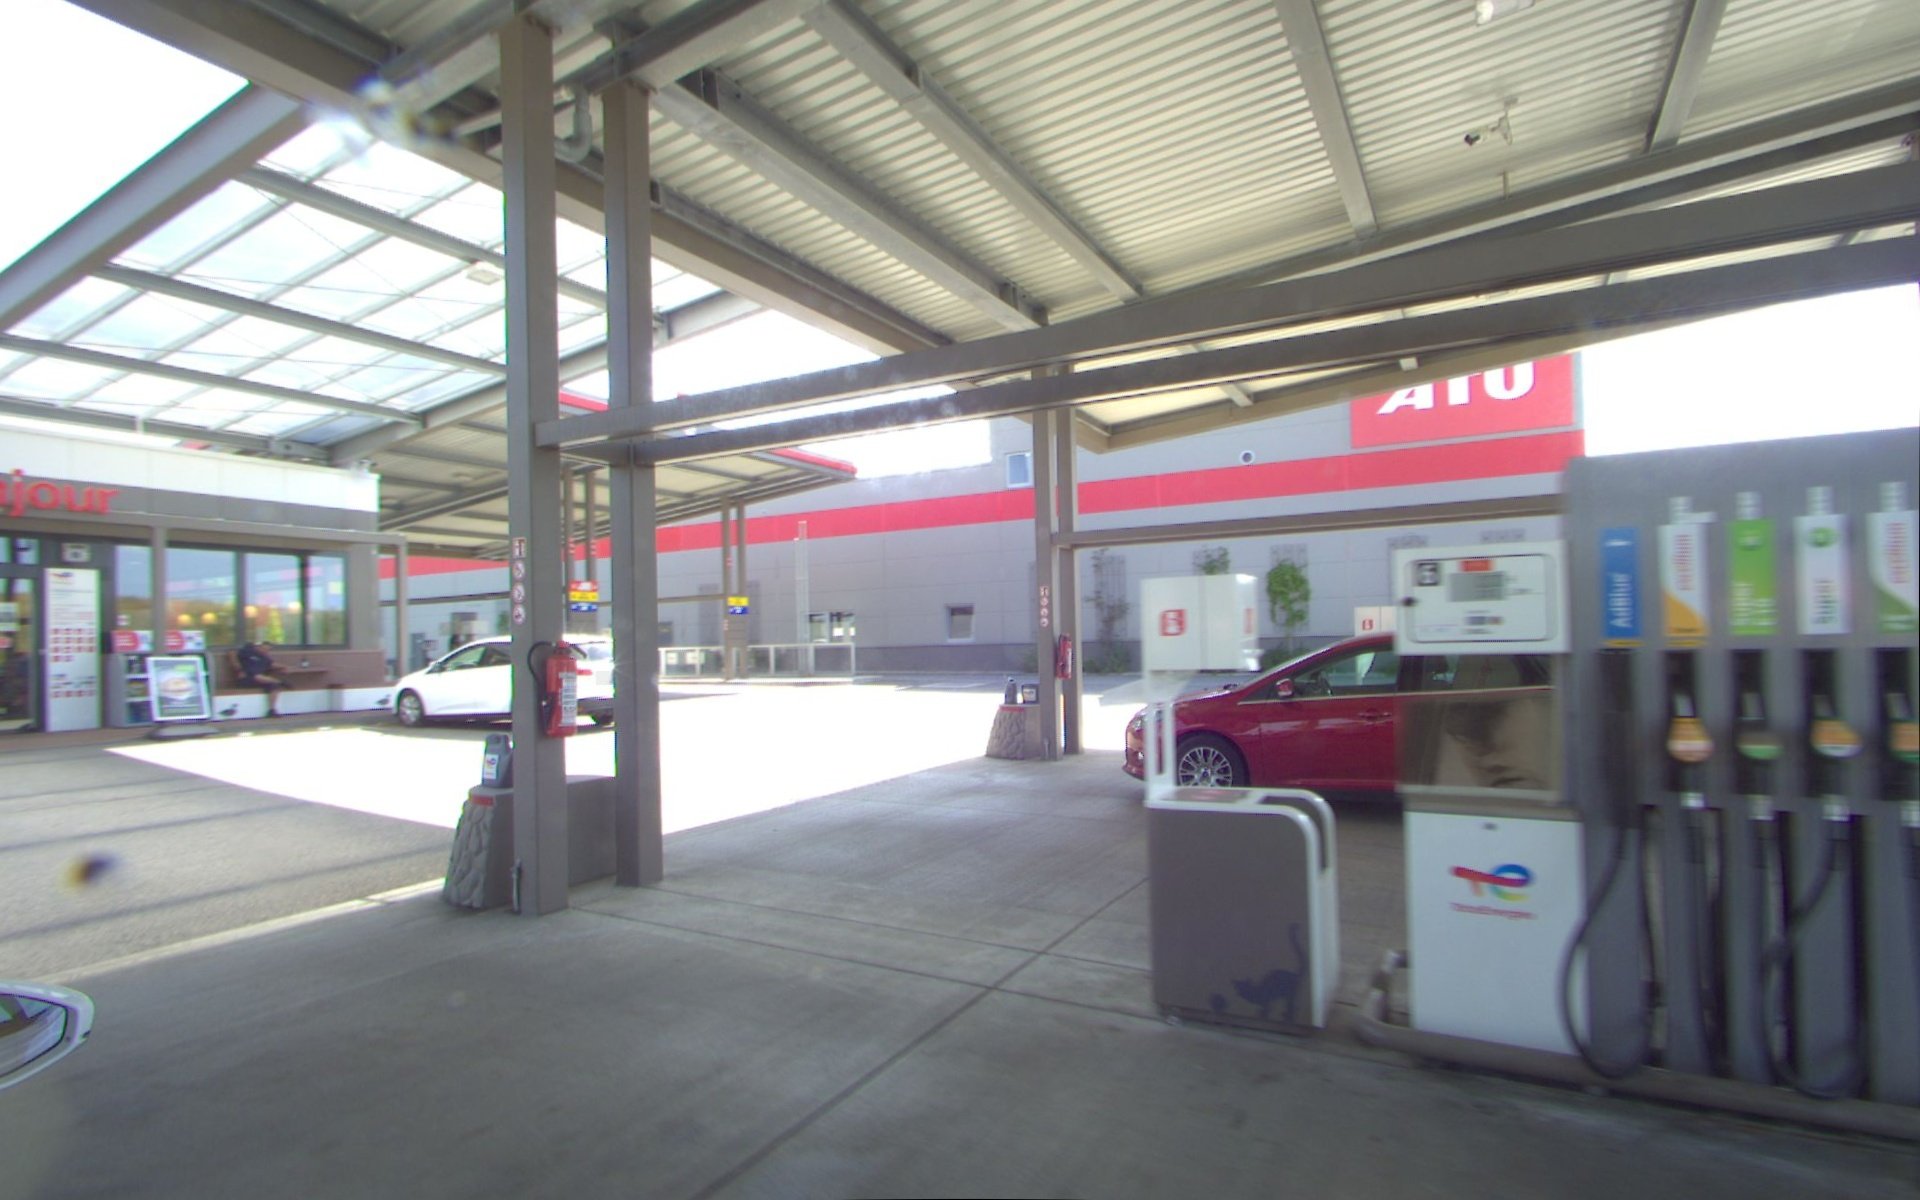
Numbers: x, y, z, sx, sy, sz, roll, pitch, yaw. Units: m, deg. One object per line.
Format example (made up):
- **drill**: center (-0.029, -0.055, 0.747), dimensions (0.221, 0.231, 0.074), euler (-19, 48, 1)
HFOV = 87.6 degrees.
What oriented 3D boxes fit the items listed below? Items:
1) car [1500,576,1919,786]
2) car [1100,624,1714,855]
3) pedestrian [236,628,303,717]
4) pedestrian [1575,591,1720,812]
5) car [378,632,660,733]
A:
- **car**: center (8.230, 0.746, 10.286), dimensions (4.724, 1.875, 2.026), euler (-1, -1, 29)
- **car**: center (3.411, 0.967, 8.199), dimensions (4.168, 1.487, 1.697), euler (-2, -2, 29)
- **pedestrian**: center (-11.622, 1.199, 16.856), dimensions (0.662, 1.450, 0.701), euler (-1, -1, 28)
- **pedestrian**: center (5.708, 0.811, 8.369), dimensions (0.914, 1.724, 0.700), euler (-1, -1, 30)
- **car**: center (-7.226, 1.282, 16.411), dimensions (4.249, 1.475, 1.831), euler (-1, -2, 23)
